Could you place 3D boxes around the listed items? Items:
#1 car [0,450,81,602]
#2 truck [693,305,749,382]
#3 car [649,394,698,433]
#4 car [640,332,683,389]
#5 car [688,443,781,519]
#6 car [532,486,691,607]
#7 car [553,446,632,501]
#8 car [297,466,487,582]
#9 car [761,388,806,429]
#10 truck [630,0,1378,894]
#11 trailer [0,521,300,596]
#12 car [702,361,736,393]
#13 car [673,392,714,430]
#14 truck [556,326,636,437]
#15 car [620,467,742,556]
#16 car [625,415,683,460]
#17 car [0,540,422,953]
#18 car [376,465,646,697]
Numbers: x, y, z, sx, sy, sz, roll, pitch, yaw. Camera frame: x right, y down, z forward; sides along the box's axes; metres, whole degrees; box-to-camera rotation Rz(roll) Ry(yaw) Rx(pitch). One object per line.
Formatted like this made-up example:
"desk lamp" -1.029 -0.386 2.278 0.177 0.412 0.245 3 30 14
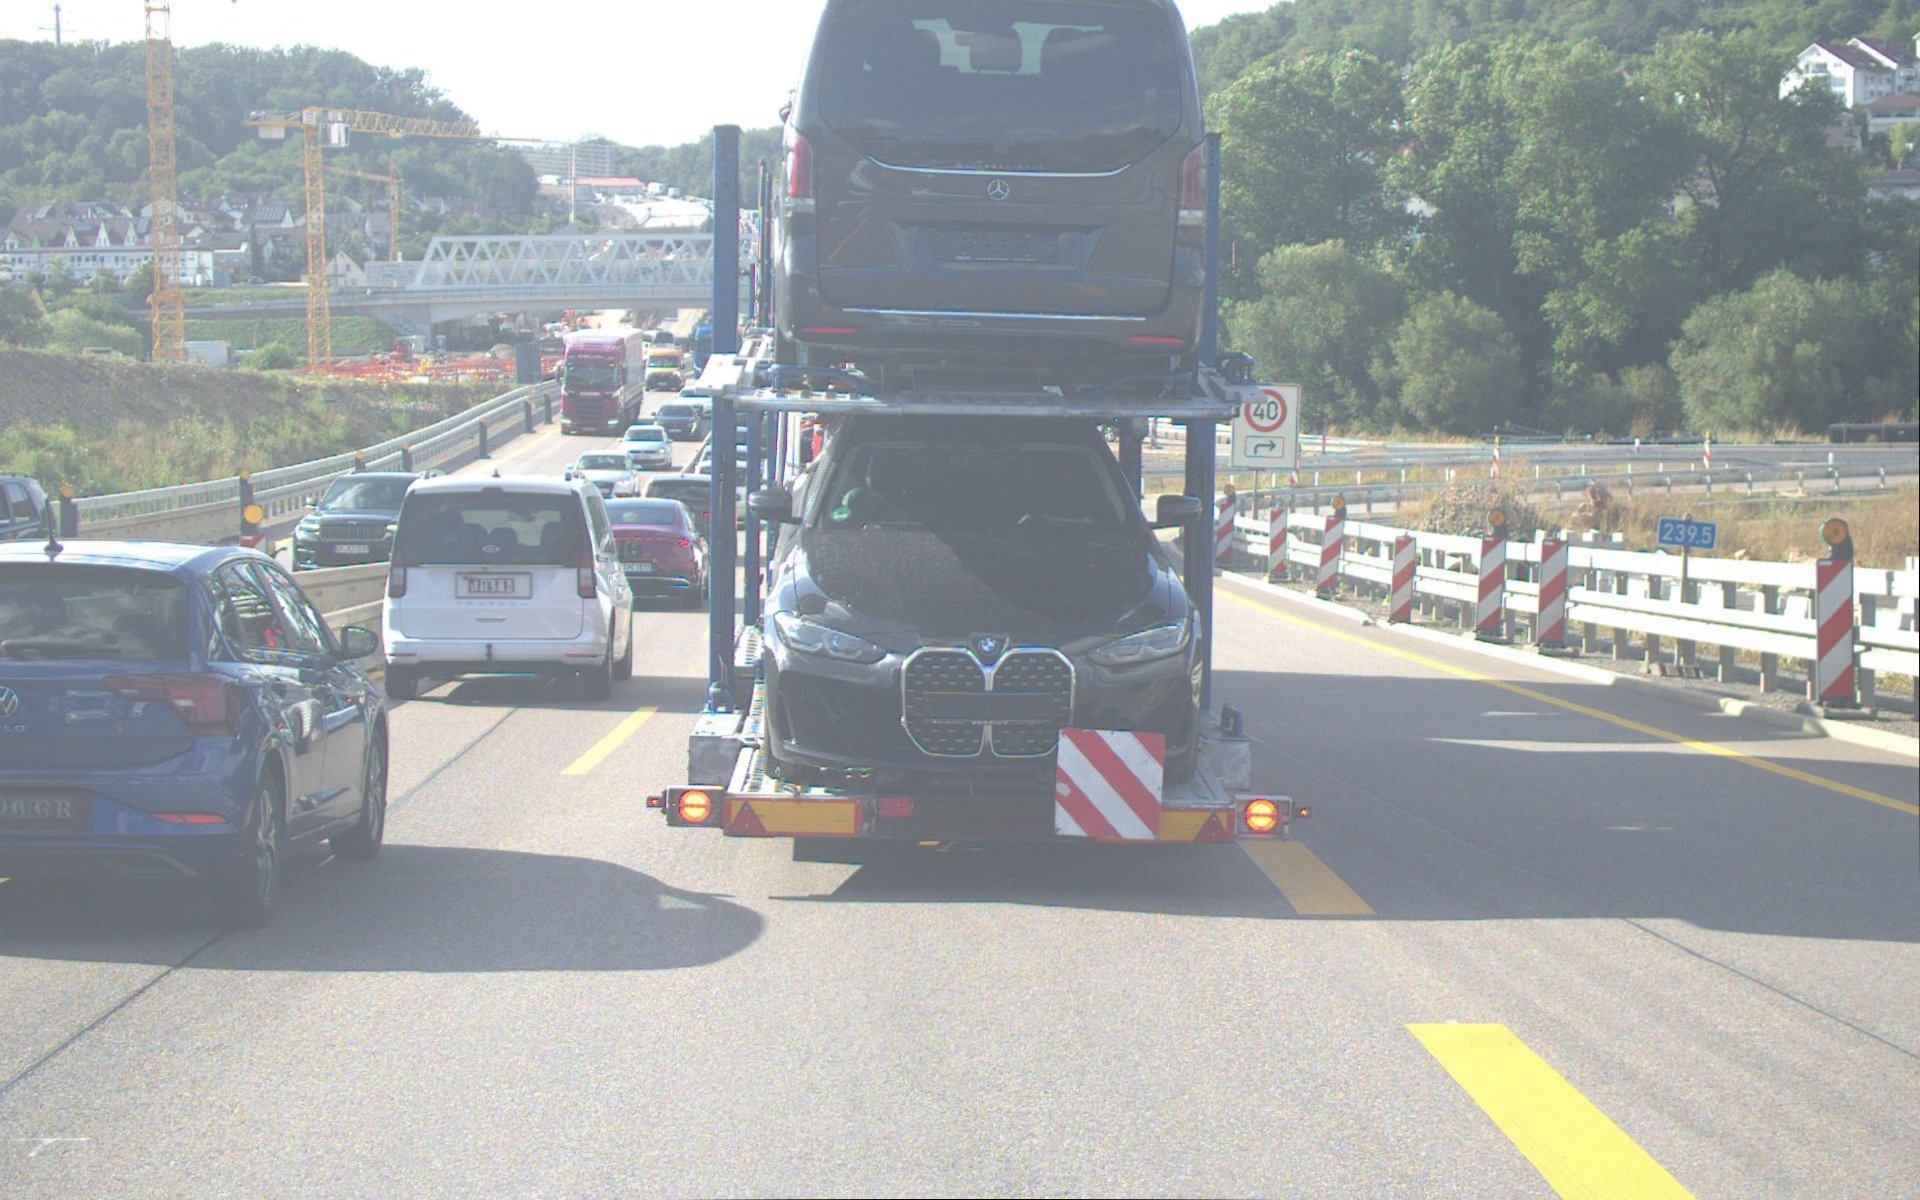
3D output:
"car" -12.344 -0.913 41.753 1.994 1.798 4.444 1 1 3
"truck" -17.621 -18.943 254.619 2.822 4.772 13.054 1 0 2
"car" -11.605 -7.550 139.320 1.821 1.435 4.615 1 2 -3
"car" -17.173 -13.745 197.753 1.993 2.870 6.064 1 0 -1
"car" -5.293 -2.784 81.176 1.993 1.660 4.000 1 0 -1
"car" -4.741 -0.720 47.288 1.993 1.551 4.402 1 0 -4
"car" -9.998 -3.441 93.821 1.852 1.435 4.559 1 2 -2
"car" -8.492 -1.167 51.753 1.853 1.630 4.749 1 2 3
"car" -7.798 -8.426 151.656 1.844 1.642 4.506 1 2 -4
"truck" -0.187 -1.059 22.613 2.753 3.941 18.892 2 1 -2
"trailer" -11.945 -0.608 49.170 2.352 0.936 10.328 1 1 4
"car" -13.522 -12.511 192.833 1.844 1.642 4.237 1 2 -4
"car" -12.357 -8.750 159.315 1.844 1.642 4.506 1 2 -4
"truck" -15.212 -9.102 143.899 2.914 4.372 6.288 2 2 -4
"car" -5.143 -1.617 63.845 1.993 1.547 4.000 1 0 -1
"car" -10.404 -5.522 117.004 1.754 1.435 3.805 1 2 -2
"car" -3.352 0.477 13.926 1.722 1.417 4.000 1 1 0
"car" -3.692 -0.166 28.894 1.823 1.786 4.000 1 0 -2
